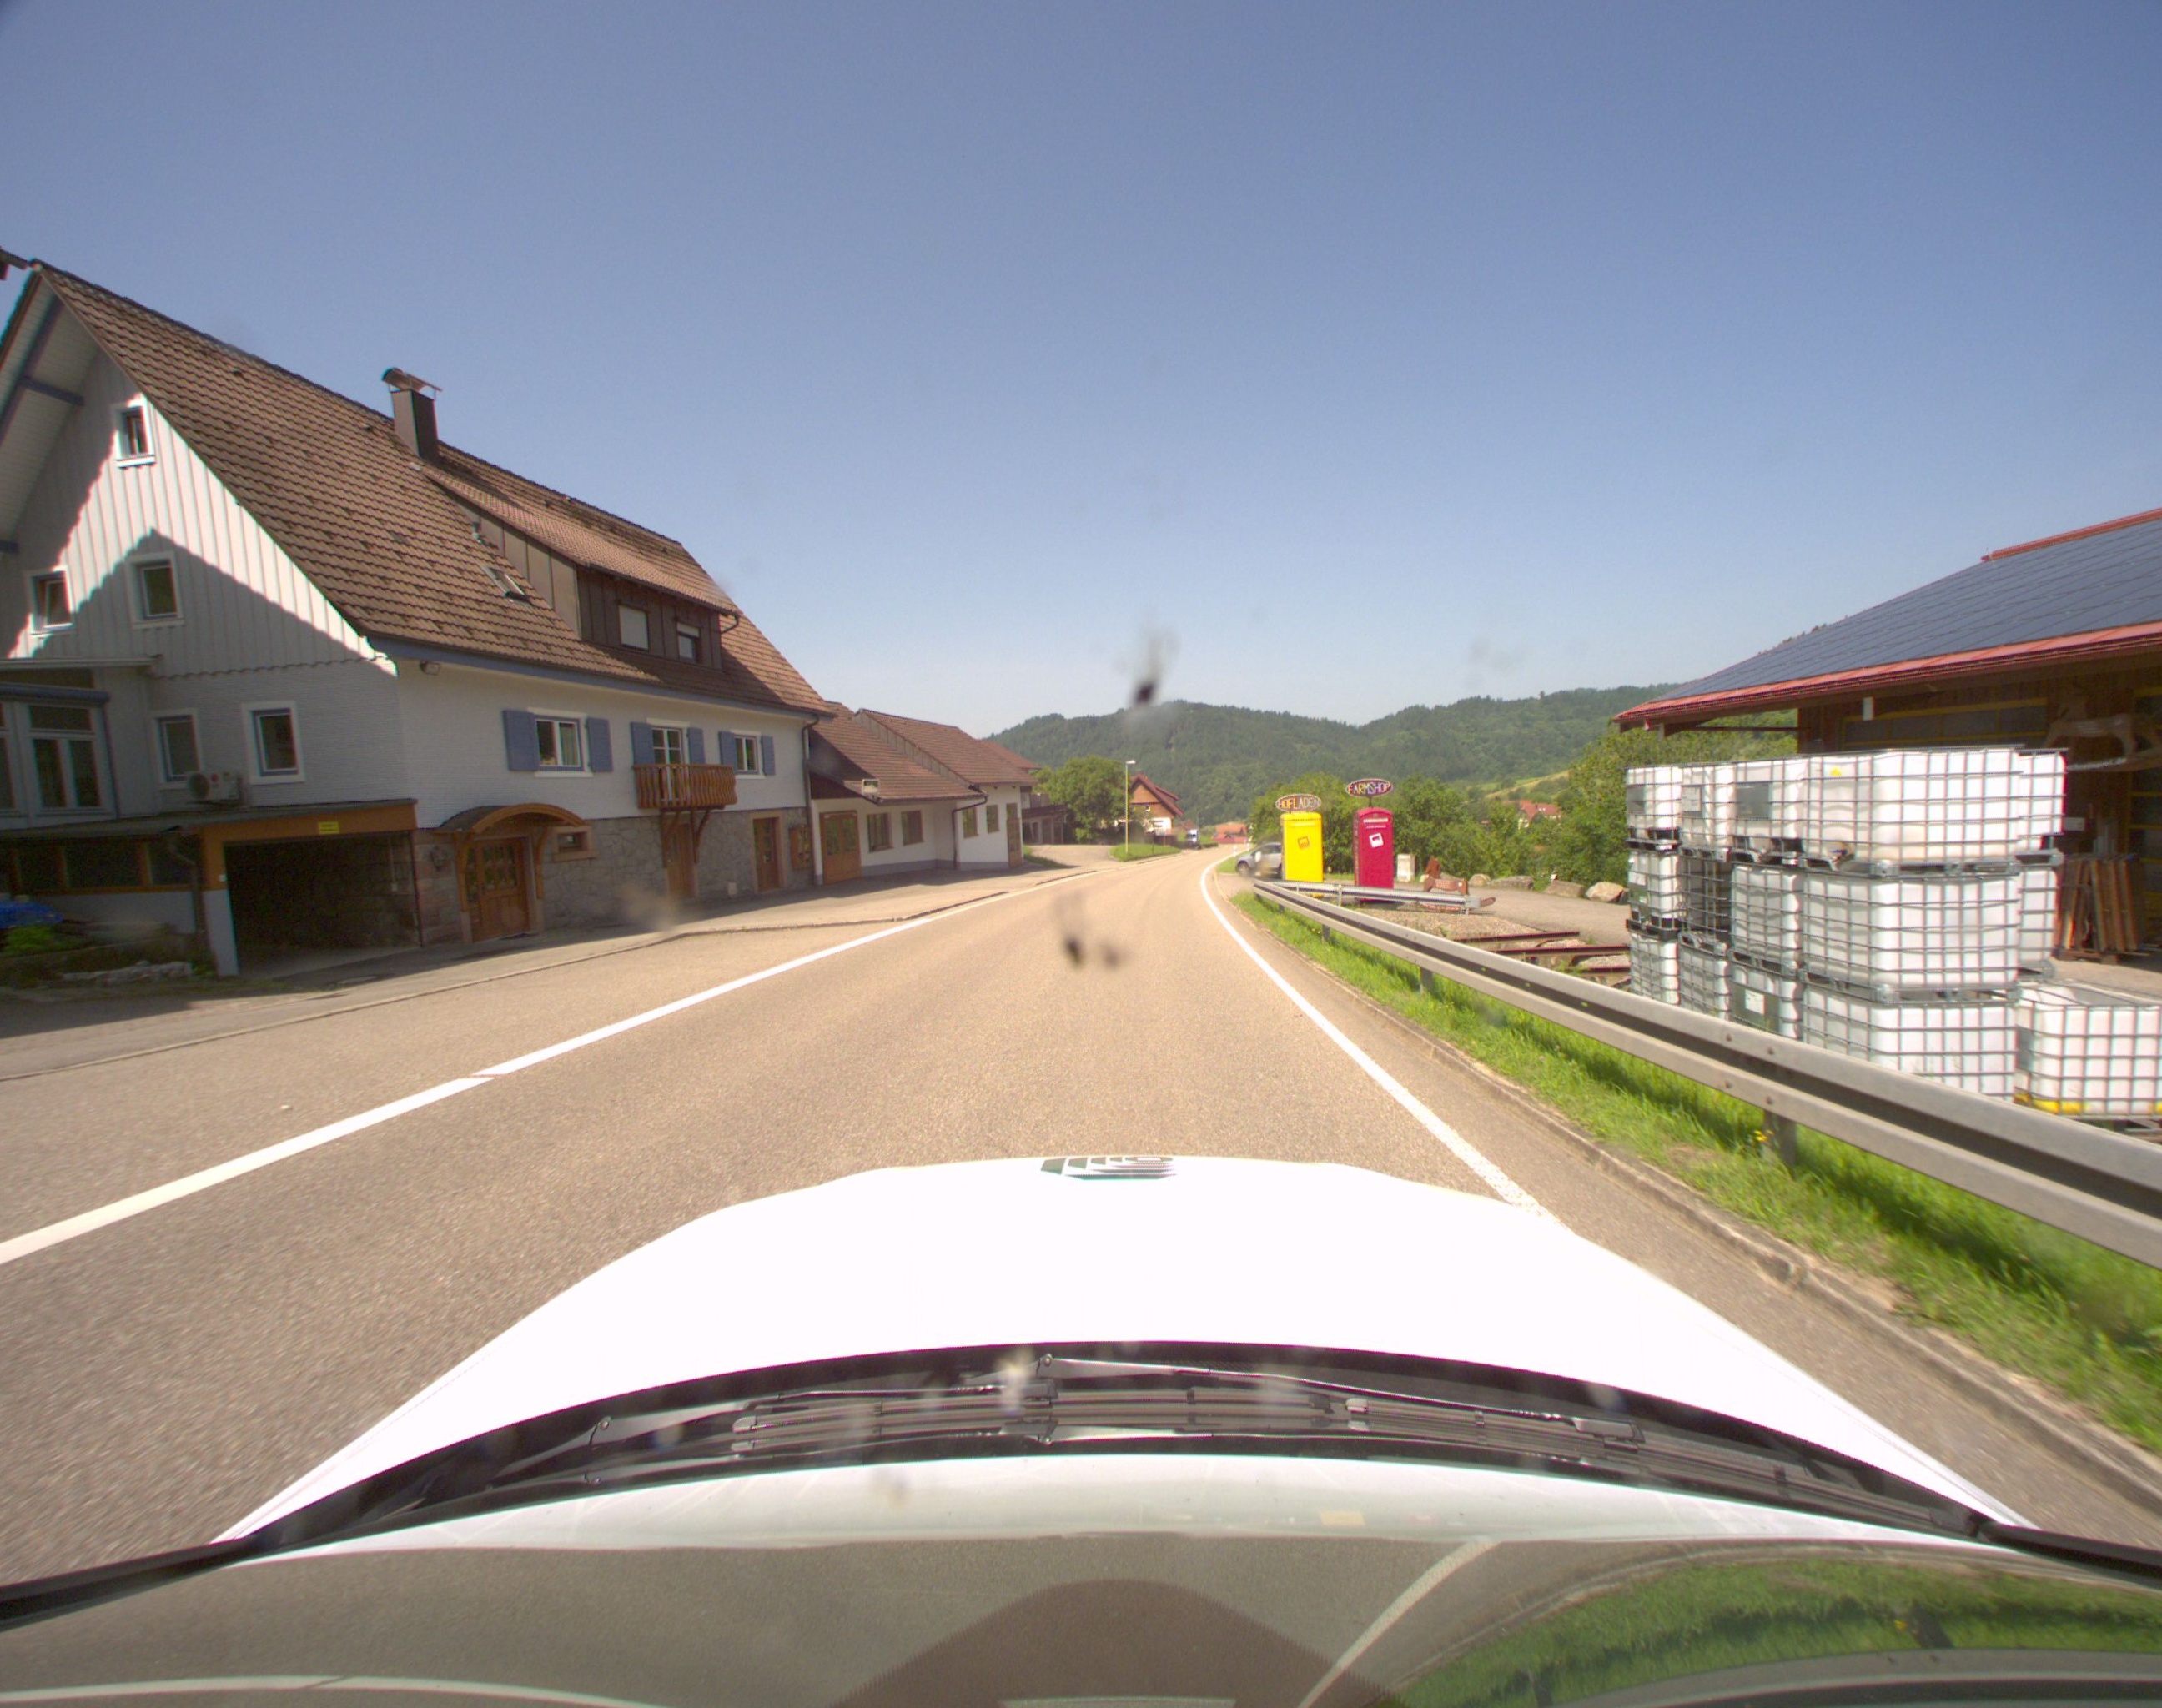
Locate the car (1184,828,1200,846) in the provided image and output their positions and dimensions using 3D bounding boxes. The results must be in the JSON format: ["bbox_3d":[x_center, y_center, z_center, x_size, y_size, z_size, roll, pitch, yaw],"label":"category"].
[{"bbox_3d":[18.738,-2.887,137.275,2.053,2.687,7.202,-2,4,13],"label":"car"}]

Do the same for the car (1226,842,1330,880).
[{"bbox_3d":[8.625,0.257,35.965,1.912,1.570,4.418,-1,1,-32],"label":"car"}]
